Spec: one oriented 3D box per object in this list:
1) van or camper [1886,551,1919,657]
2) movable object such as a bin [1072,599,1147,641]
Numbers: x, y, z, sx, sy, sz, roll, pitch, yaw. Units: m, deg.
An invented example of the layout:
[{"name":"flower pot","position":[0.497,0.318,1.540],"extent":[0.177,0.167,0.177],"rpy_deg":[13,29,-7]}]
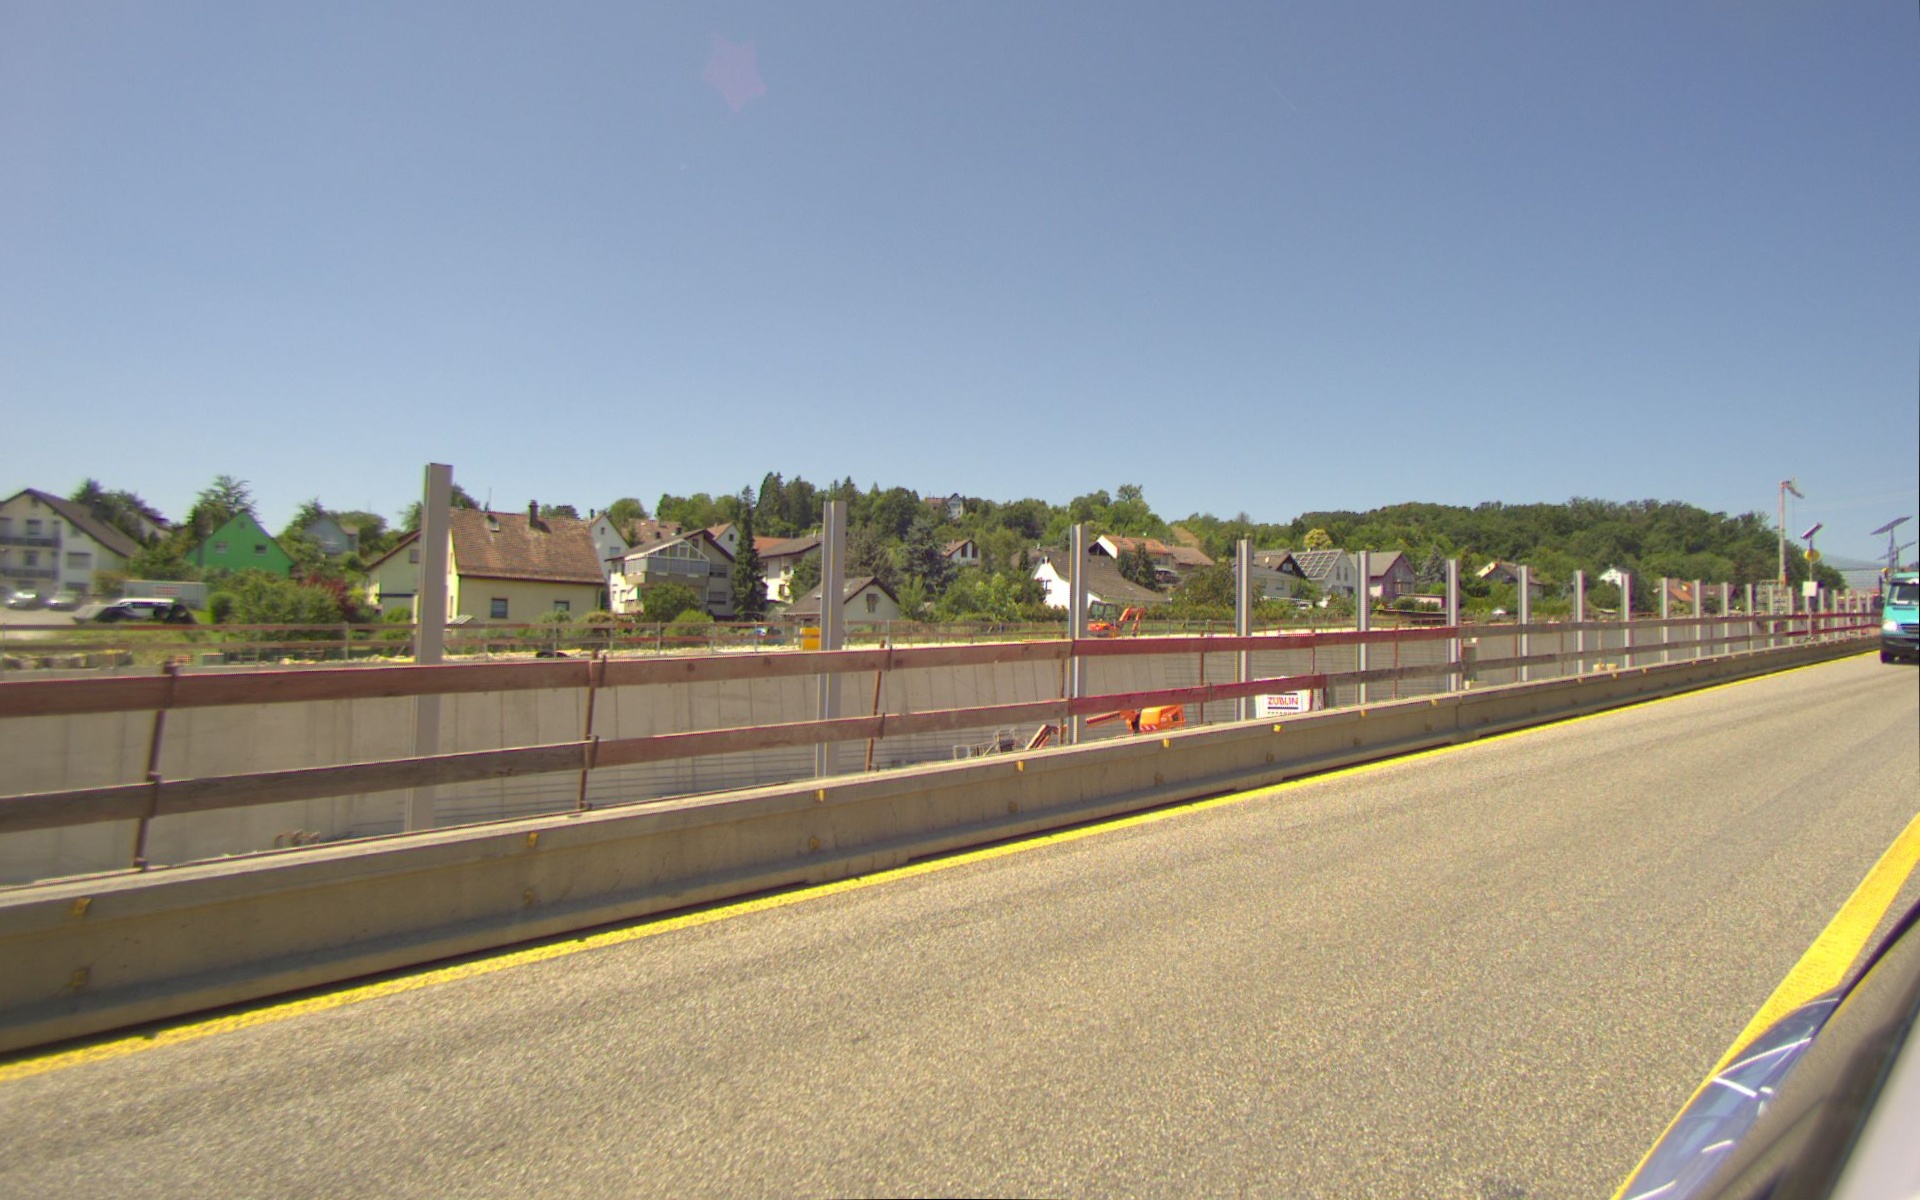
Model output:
[{"name":"van or camper","position":[25.761,0.156,26.027],"extent":[7.537,2.504,2.095],"rpy_deg":[1,-1,-41]},{"name":"movable object such as a bin","position":[8.425,1.090,56.788],"extent":[4.078,2.267,1.997],"rpy_deg":[0,0,-41]}]
